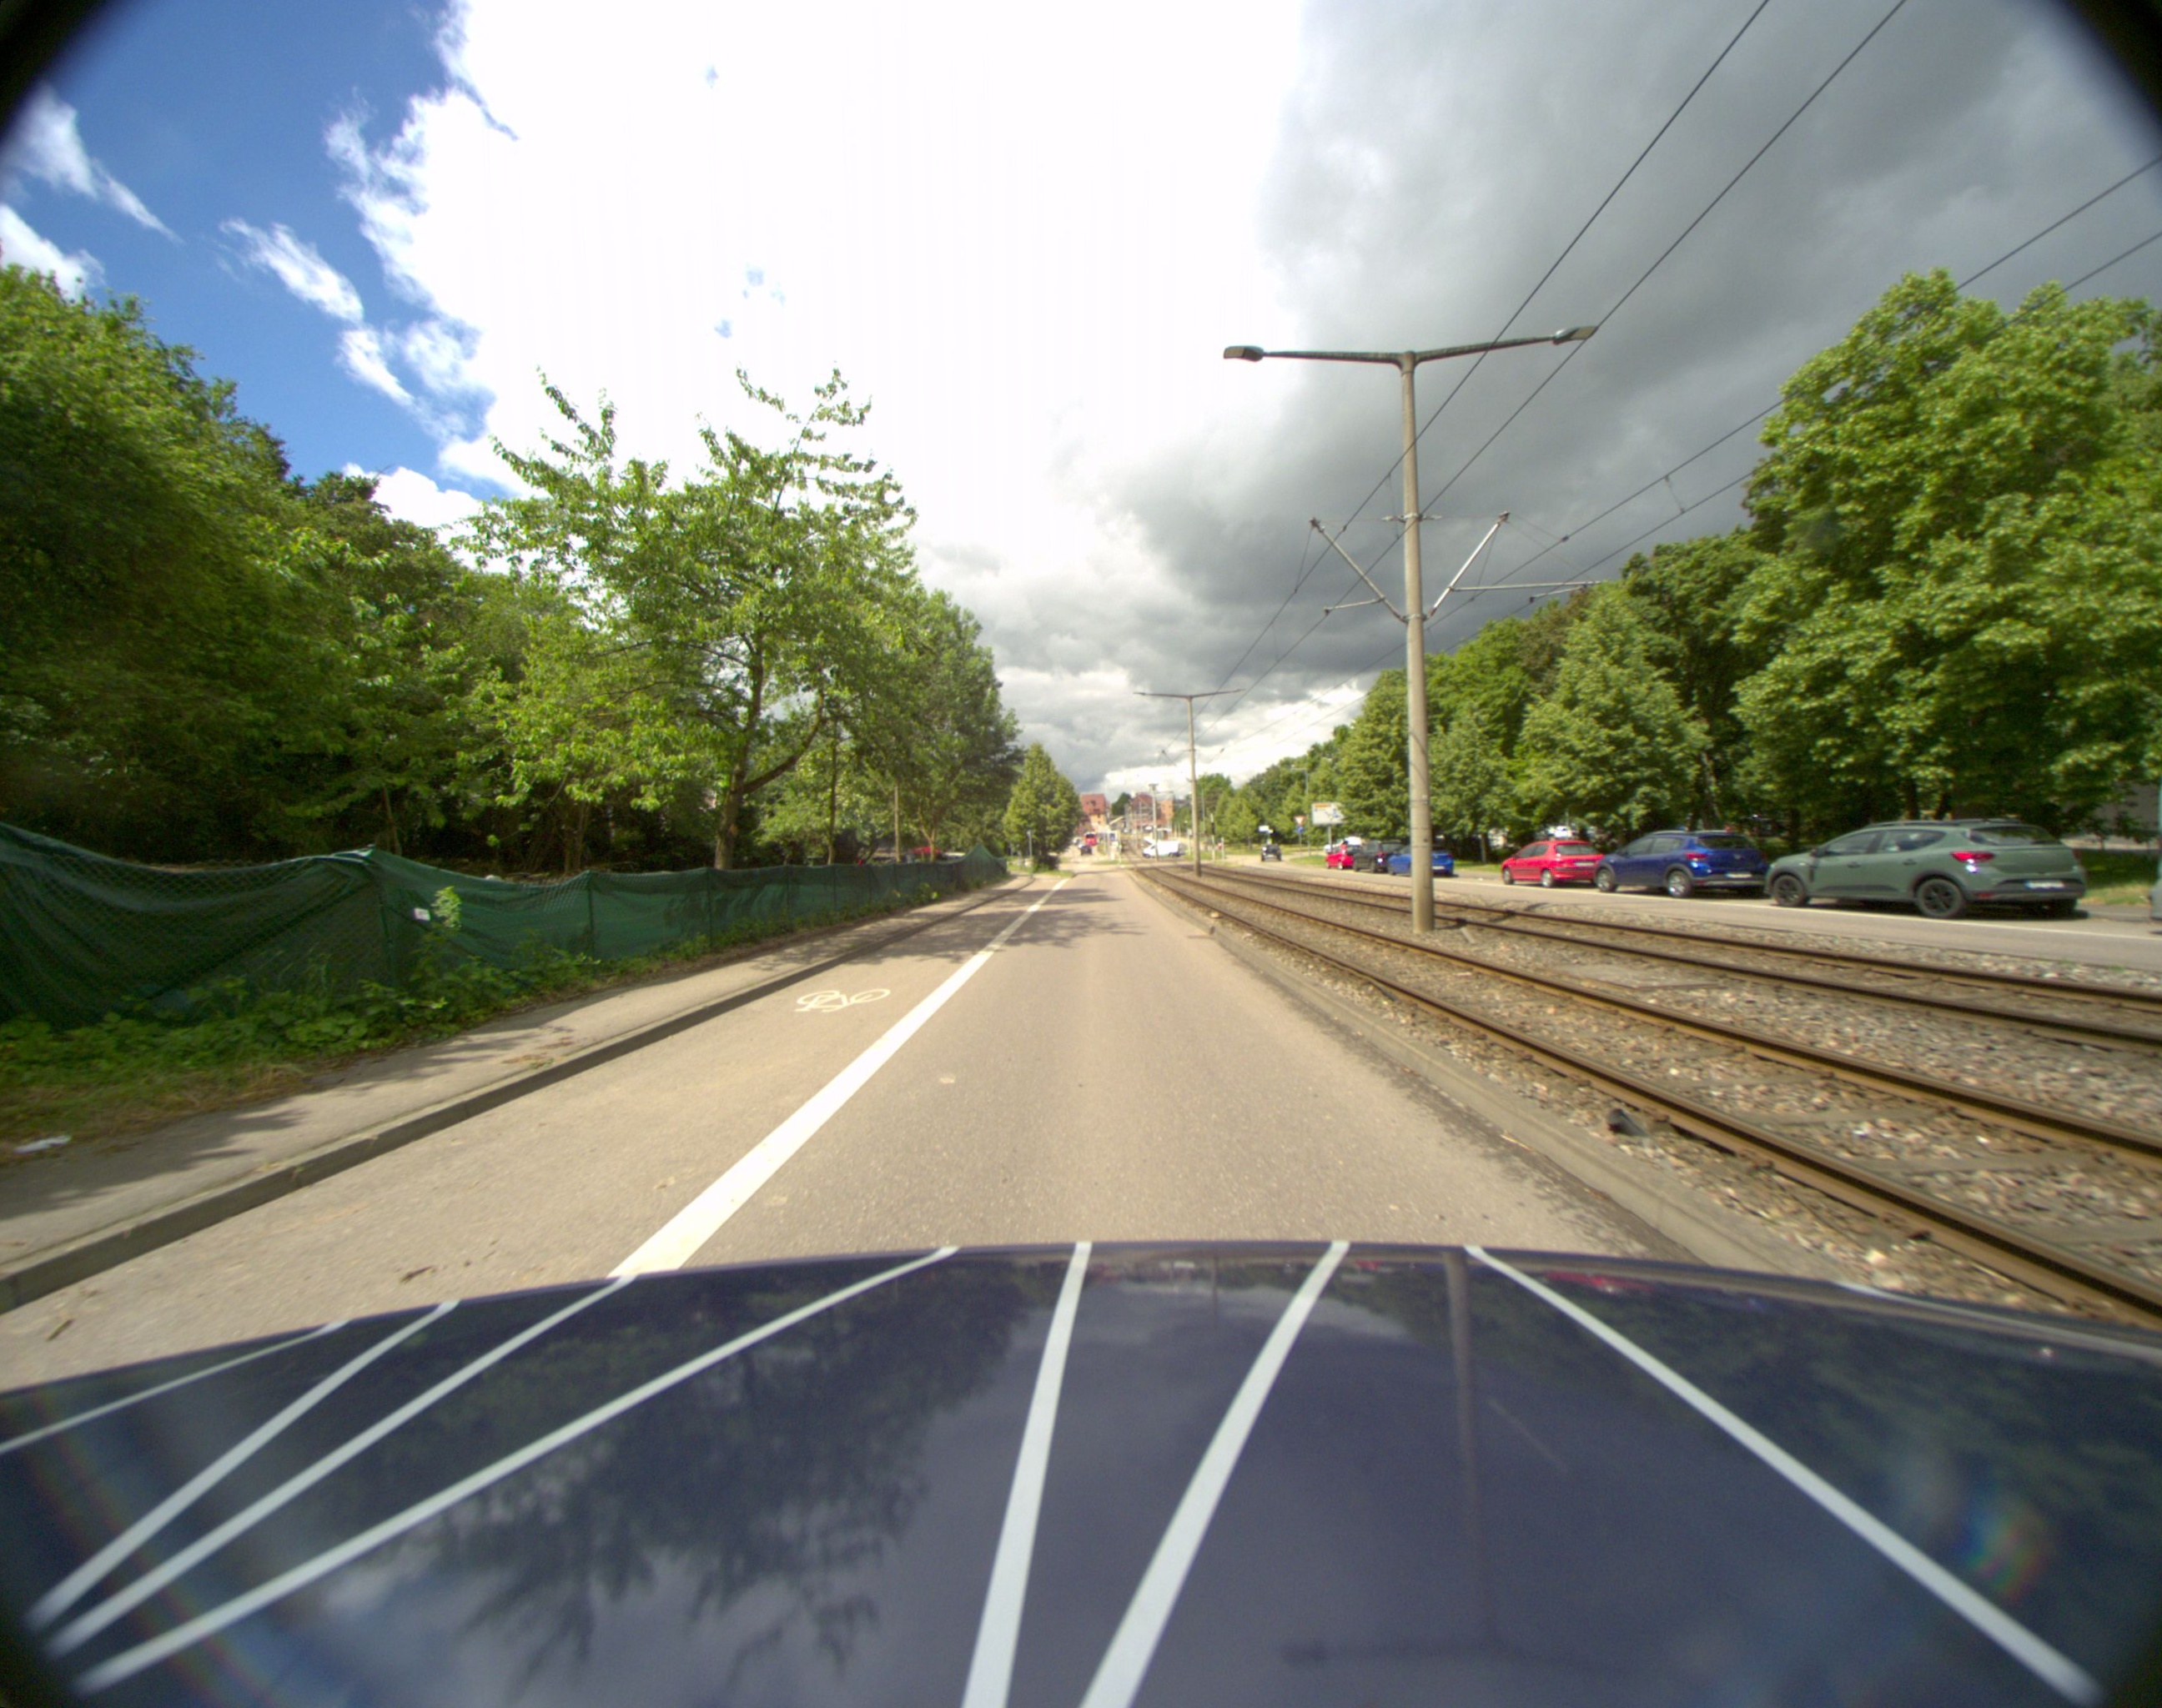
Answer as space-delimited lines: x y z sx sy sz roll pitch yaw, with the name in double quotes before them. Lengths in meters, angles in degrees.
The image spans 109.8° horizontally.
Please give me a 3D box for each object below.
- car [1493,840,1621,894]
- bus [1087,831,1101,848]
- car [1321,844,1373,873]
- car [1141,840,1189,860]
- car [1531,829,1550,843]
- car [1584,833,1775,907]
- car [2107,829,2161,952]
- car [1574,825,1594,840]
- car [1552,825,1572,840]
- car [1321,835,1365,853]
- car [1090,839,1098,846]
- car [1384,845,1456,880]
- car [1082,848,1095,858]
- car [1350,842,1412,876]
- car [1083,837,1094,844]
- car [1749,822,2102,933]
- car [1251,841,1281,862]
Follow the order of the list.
"car" 14.729 0.377 23.790 1.616 1.485 4.049 -3 0 4
"bus" 3.270 -3.575 188.828 2.923 3.864 10.379 -3 1 3
"car" 15.553 0.223 44.601 1.617 1.443 3.660 -4 2 -2
"car" 9.956 -0.454 90.570 5.221 2.007 1.884 -3 2 31
"car" 52.997 -2.083 87.608 1.754 1.412 4.006 -3 2 33
"car" 14.462 0.350 18.694 1.561 1.586 4.160 -1 0 3
"car" 14.136 0.426 7.772 1.597 1.485 4.192 -4 0 1
"car" 56.202 -2.453 84.852 1.754 1.412 4.006 -3 2 33
"car" 54.463 -2.479 85.991 1.754 1.412 4.006 -3 2 33
"car" 29.419 -1.093 85.200 4.352 1.680 1.740 -5 2 -16
"car" 2.998 -2.767 179.518 1.738 1.501 3.514 -4 2 3
"car" 14.950 0.346 33.692 1.616 1.452 4.008 -1 1 4
"car" 1.251 -0.158 122.228 1.858 1.576 4.323 -2 1 -2
"car" 15.285 0.219 38.904 1.584 1.596 4.375 -2 0 3
"car" 1.605 -2.851 161.271 1.939 1.374 4.660 -4 2 3
"car" 14.166 0.337 13.189 1.646 1.613 4.126 0 0 3
"car" 15.914 -0.220 65.365 1.617 1.565 3.999 -4 2 2
